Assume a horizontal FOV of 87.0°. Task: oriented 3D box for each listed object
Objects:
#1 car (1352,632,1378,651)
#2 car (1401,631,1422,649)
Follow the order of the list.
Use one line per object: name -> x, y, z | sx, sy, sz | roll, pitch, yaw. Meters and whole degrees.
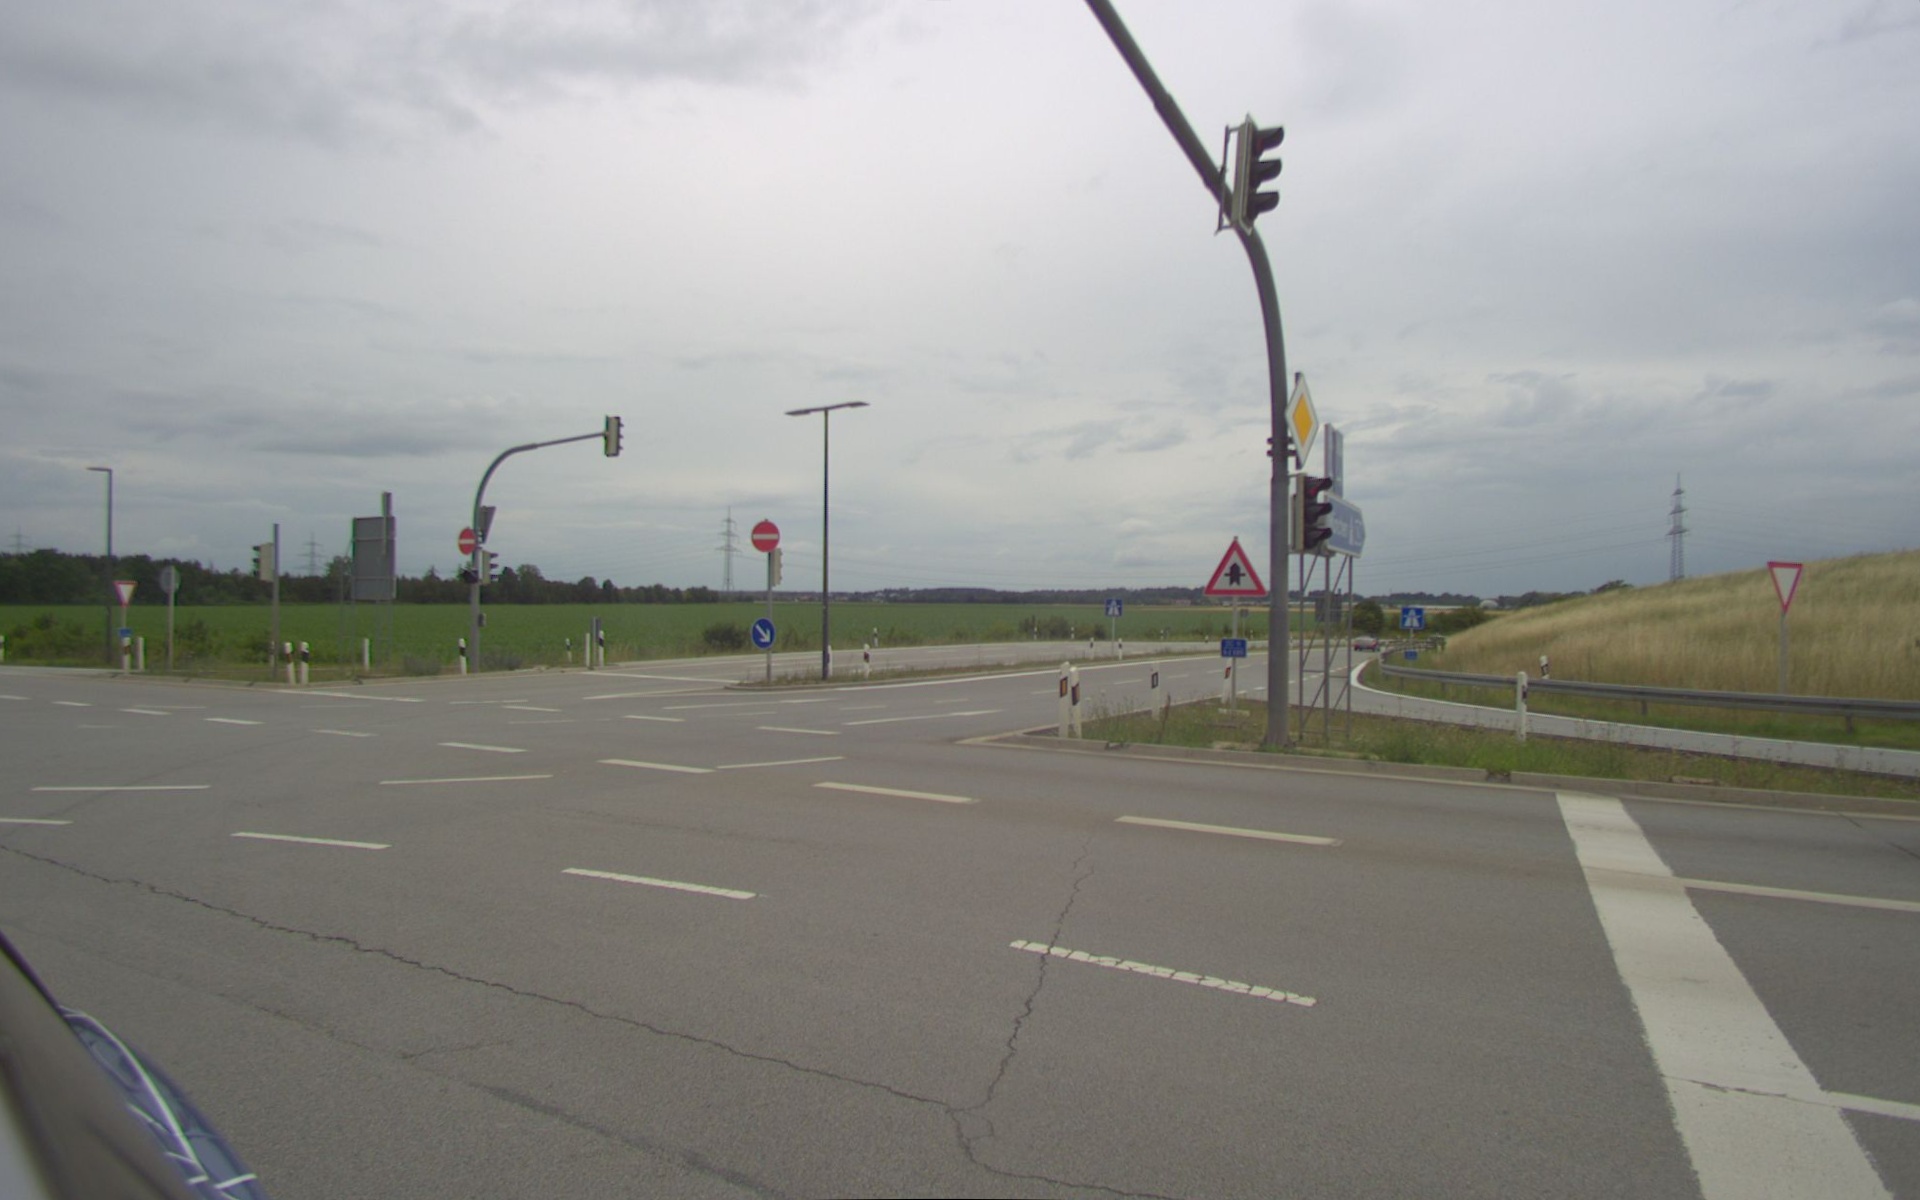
car -> 34.749, 3.575, 86.703 | 1.806, 1.532, 4.205 | 0, -3, 25
car -> 48.490, 4.276, 108.594 | 1.989, 1.707, 4.416 | 0, -1, 25
